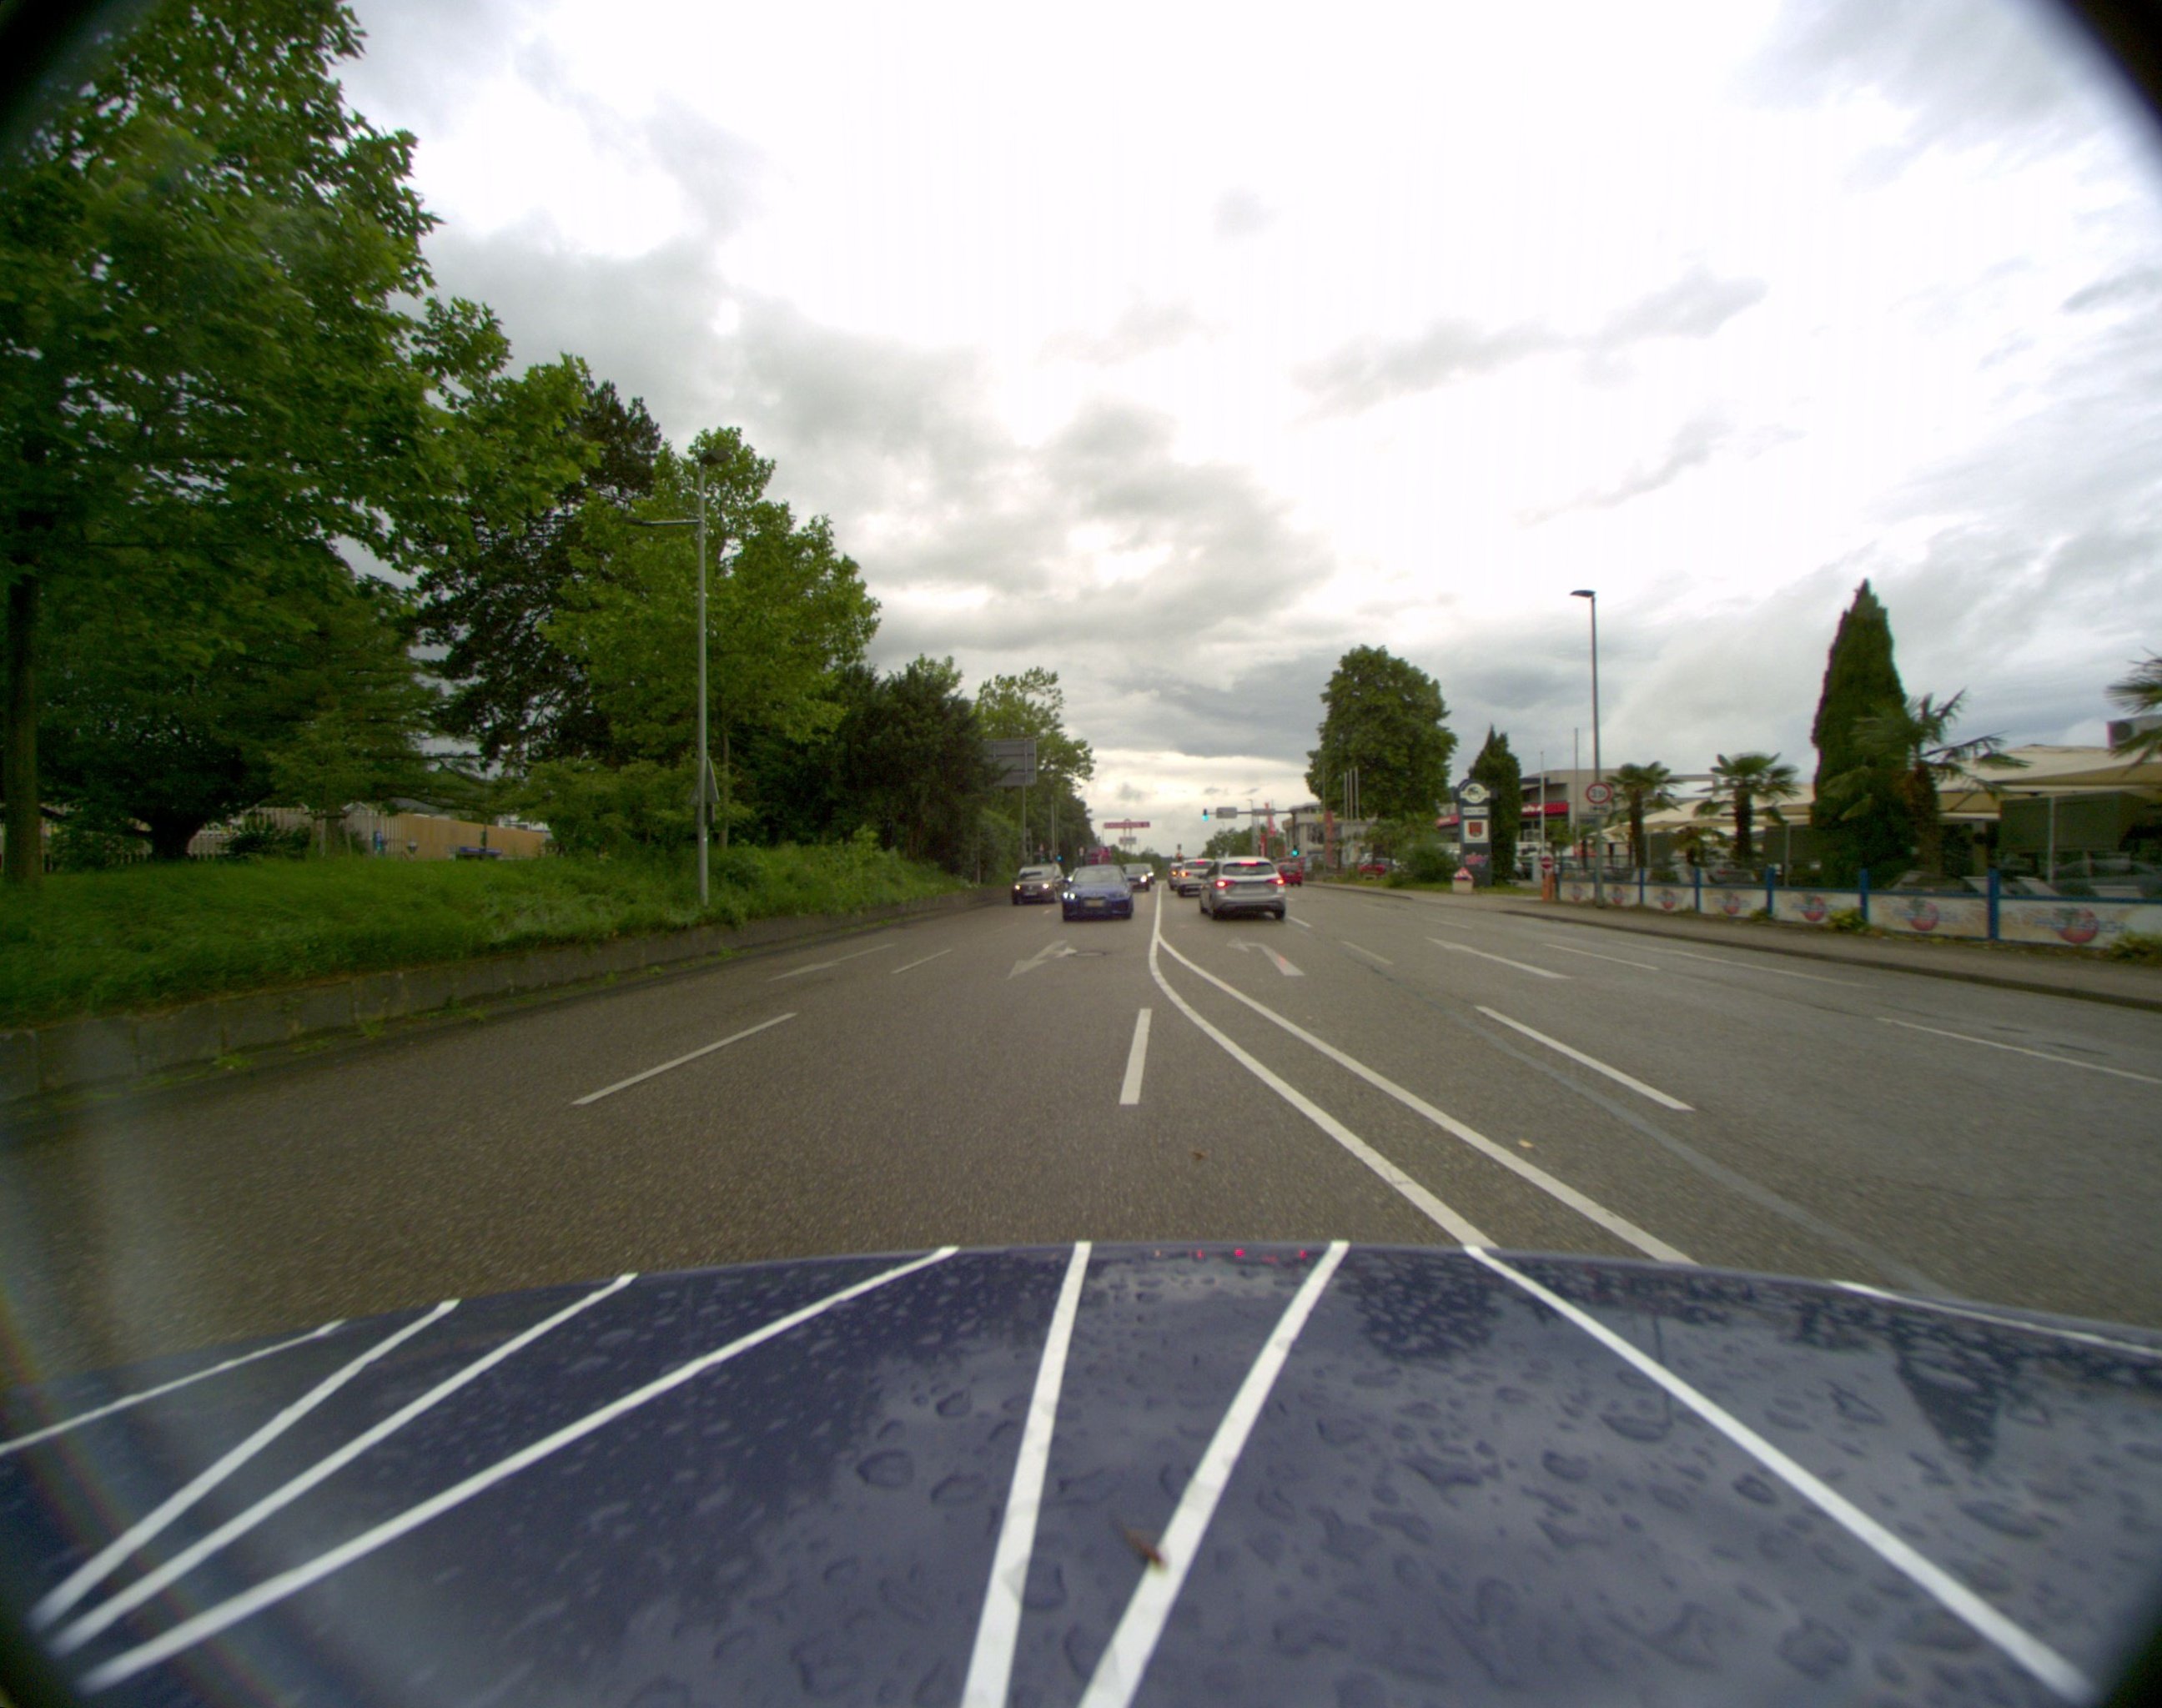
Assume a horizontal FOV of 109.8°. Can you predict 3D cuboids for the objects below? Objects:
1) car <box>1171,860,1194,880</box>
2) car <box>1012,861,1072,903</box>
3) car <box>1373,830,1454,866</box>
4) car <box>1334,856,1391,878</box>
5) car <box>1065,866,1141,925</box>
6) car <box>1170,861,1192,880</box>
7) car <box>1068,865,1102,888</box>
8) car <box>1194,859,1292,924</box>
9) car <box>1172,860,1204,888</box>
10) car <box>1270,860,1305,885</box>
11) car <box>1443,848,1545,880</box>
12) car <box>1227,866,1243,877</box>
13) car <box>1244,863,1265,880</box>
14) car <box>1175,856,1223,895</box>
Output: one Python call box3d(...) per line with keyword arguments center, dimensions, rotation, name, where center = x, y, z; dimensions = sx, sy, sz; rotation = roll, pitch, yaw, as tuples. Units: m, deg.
box3d(center=(7.537, 1.149, 56.507), dimensions=(1.635, 1.425, 4.146), rotation=(-1, 0, 7), name="car")
box3d(center=(-1.534, 1.145, 31.483), dimensions=(1.750, 1.599, 3.984), rotation=(-2, -1, 8), name="car")
box3d(center=(20.421, -0.325, 46.715), dimensions=(4.405, 2.001, 1.997), rotation=(2, -1, -21), name="car")
box3d(center=(20.472, 0.923, 55.288), dimensions=(3.608, 1.495, 1.669), rotation=(0, 0, 36), name="car")
box3d(center=(0.741, 1.124, 21.840), dimensions=(1.783, 1.448, 4.600), rotation=(-2, -1, 6), name="car")
box3d(center=(8.658, 1.443, 66.099), dimensions=(1.843, 1.639, 4.300), rotation=(-1, -2, 7), name="car")
box3d(center=(0.304, 1.493, 51.817), dimensions=(1.783, 1.448, 4.683), rotation=(-2, -1, 6), name="car")
box3d(center=(4.123, 0.898, 20.019), dimensions=(1.754, 1.499, 4.302), rotation=(-1, 0, 1), name="car")
box3d(center=(5.869, 1.077, 41.796), dimensions=(1.605, 1.432, 3.951), rotation=(-2, 0, 7), name="car")
box3d(center=(13.487, 1.190, 49.755), dimensions=(1.640, 1.524, 3.974), rotation=(1, 0, 7), name="car")
box3d(center=(20.836, 0.504, 38.339), dimensions=(4.371, 1.456, 1.996), rotation=(1, 1, -17), name="car")
box3d(center=(18.769, 2.122, 92.840), dimensions=(1.626, 1.324, 3.949), rotation=(0, -2, 7), name="car")
box3d(center=(15.279, 1.524, 67.013), dimensions=(1.640, 1.469, 4.048), rotation=(-1, 0, 11), name="car")
box3d(center=(5.049, 0.894, 33.024), dimensions=(1.791, 1.571, 4.241), rotation=(-1, 0, 6), name="car")
